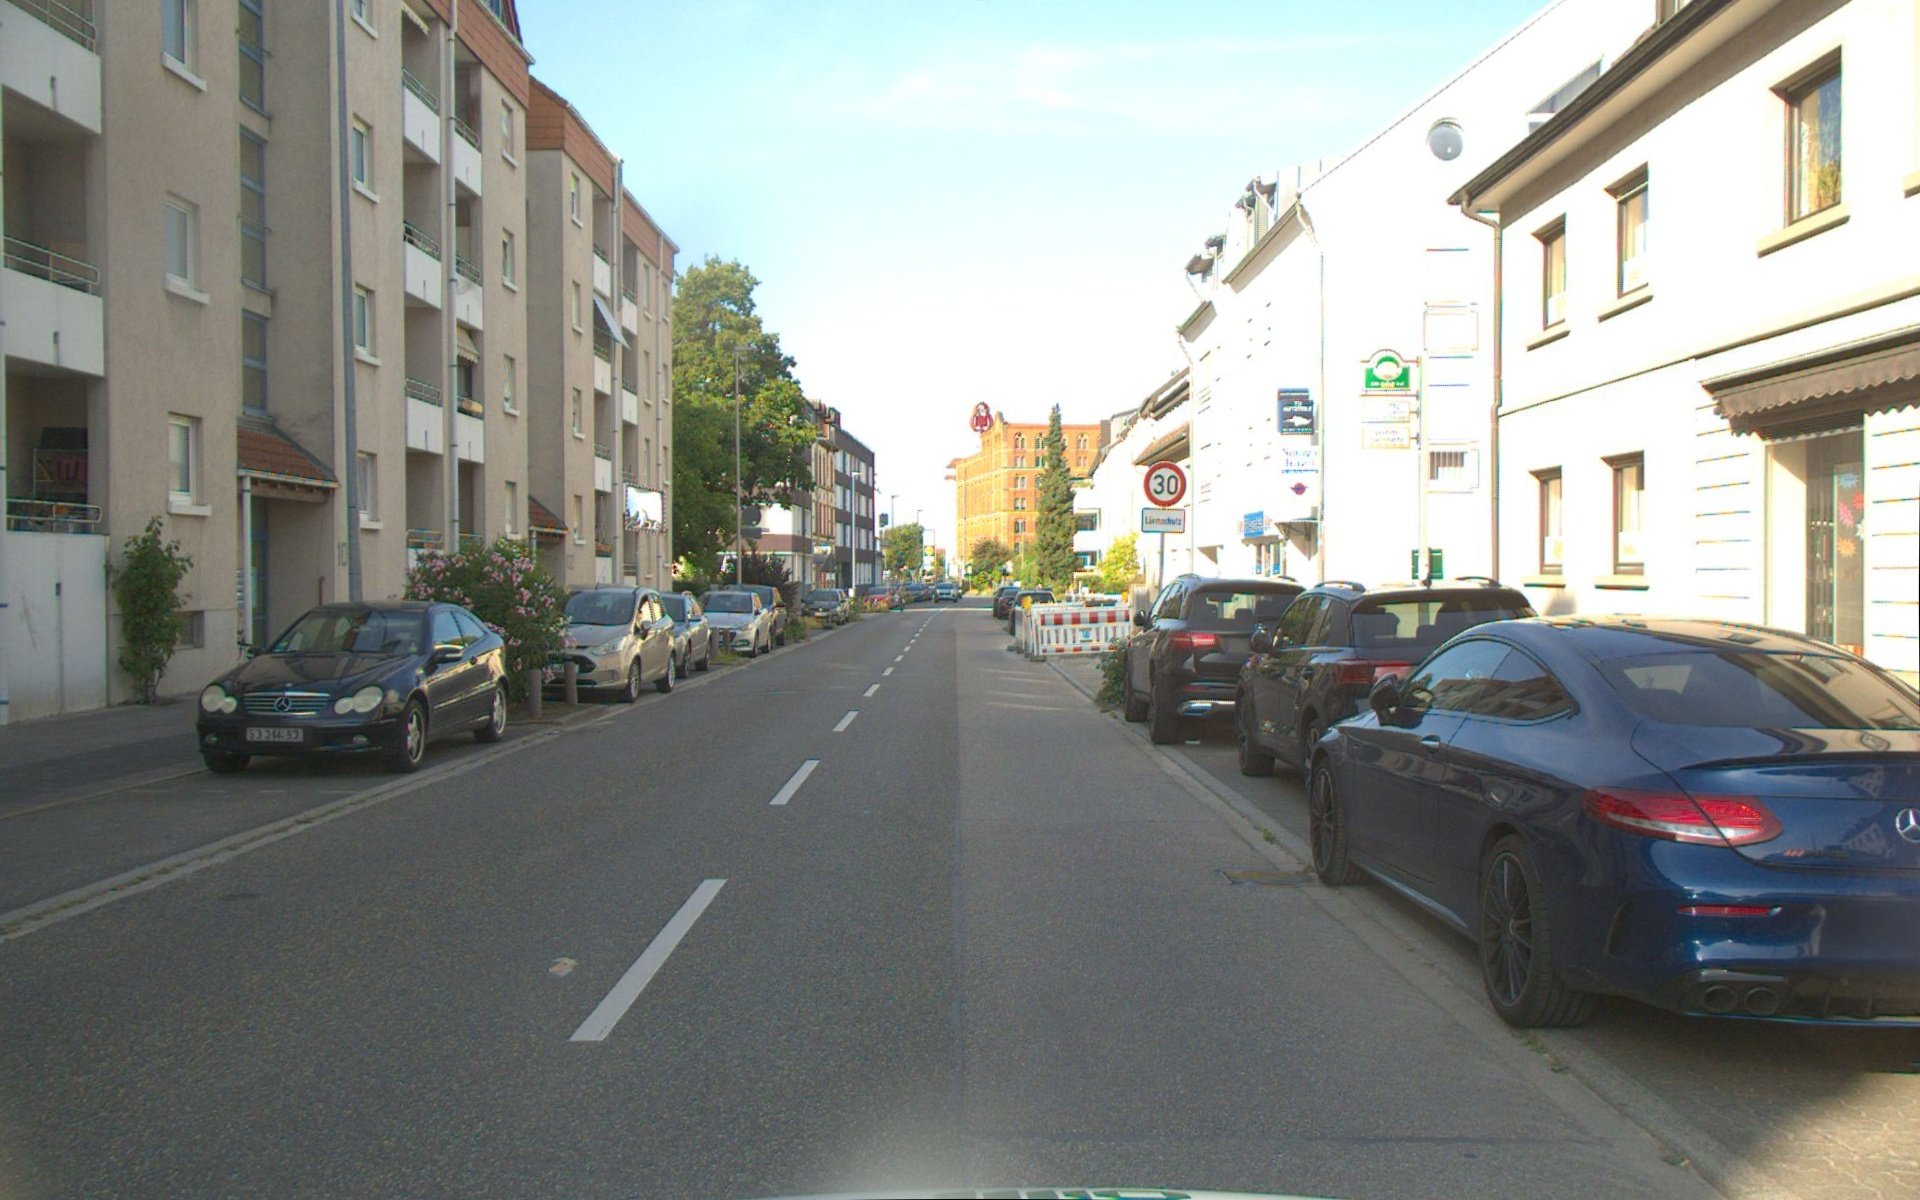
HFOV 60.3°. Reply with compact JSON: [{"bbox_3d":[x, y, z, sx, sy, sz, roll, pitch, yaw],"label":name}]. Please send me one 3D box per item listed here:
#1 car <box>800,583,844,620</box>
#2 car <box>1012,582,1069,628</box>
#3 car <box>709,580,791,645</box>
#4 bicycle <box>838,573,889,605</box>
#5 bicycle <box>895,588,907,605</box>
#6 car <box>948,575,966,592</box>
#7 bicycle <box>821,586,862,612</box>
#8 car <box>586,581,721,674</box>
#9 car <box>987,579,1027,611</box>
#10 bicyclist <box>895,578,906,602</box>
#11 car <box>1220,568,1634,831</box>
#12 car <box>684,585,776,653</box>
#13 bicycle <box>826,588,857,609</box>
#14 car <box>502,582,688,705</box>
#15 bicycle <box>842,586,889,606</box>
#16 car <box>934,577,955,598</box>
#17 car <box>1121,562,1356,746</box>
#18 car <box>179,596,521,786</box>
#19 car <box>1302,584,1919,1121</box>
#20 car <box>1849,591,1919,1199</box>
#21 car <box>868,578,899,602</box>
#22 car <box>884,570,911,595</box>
[{"bbox_3d":[-5.657,0.050,68.250,1.541,1.445,3.803,0,1,-1],"label":"car"},{"bbox_3d":[2.758,0.146,57.314,1.792,1.508,3.943,-1,1,1],"label":"car"},{"bbox_3d":[-5.505,0.289,43.739,1.651,1.631,4.370,0,1,-1],"label":"car"},{"bbox_3d":[-5.651,-0.635,97.022,2.857,1.808,1.202,-1,0,1],"label":"bicycle"},{"bbox_3d":[-3.558,-0.214,99.539,0.596,0.959,1.811,-1,1,1],"label":"bicycle"},{"bbox_3d":[-0.269,-1.682,165.415,1.727,1.644,4.000,-1,1,0],"label":"car"},{"bbox_3d":[-5.749,-0.073,80.217,1.962,1.238,0.707,0,1,-6],"label":"bicycle"},{"bbox_3d":[-5.483,0.446,30.082,1.771,1.547,4.369,0,1,-2],"label":"car"},{"bbox_3d":[2.280,-0.263,81.517,1.821,1.497,4.000,1,1,0],"label":"car"},{"bbox_3d":[-3.569,-0.593,99.541,0.578,1.467,0.751,-1,0,1],"label":"bicyclist"},{"bbox_3d":[3.240,0.587,12.417,1.793,1.587,4.316,-1,1,-1],"label":"car"},{"bbox_3d":[-5.295,0.398,38.479,1.652,1.480,4.140,0,1,-1],"label":"car"},{"bbox_3d":[-5.862,-0.078,81.782,1.554,1.059,0.707,0,1,-6],"label":"bicycle"},{"bbox_3d":[-5.110,0.547,23.642,1.691,1.582,3.966,0,1,1],"label":"car"},{"bbox_3d":[-5.641,-0.225,98.798,2.715,1.164,1.143,-1,1,1],"label":"bicycle"},{"bbox_3d":[-1.266,-1.060,137.944,1.727,1.644,4.000,-1,1,0],"label":"car"},{"bbox_3d":[2.804,0.467,17.607,1.792,1.658,4.464,-2,1,1],"label":"car"},{"bbox_3d":[-5.328,0.707,15.019,1.651,1.430,4.083,0,1,-1],"label":"car"},{"bbox_3d":[2.806,0.678,6.903,1.792,1.445,4.609,-1,1,0],"label":"car"},{"bbox_3d":[2.853,0.734,1.385,1.743,1.445,4.495,-1,1,-1],"label":"car"},{"bbox_3d":[-4.916,-0.640,106.672,1.802,1.489,3.585,0,1,0],"label":"car"},{"bbox_3d":[-5.029,-1.405,132.803,1.952,1.914,4.000,0,1,0],"label":"car"}]
